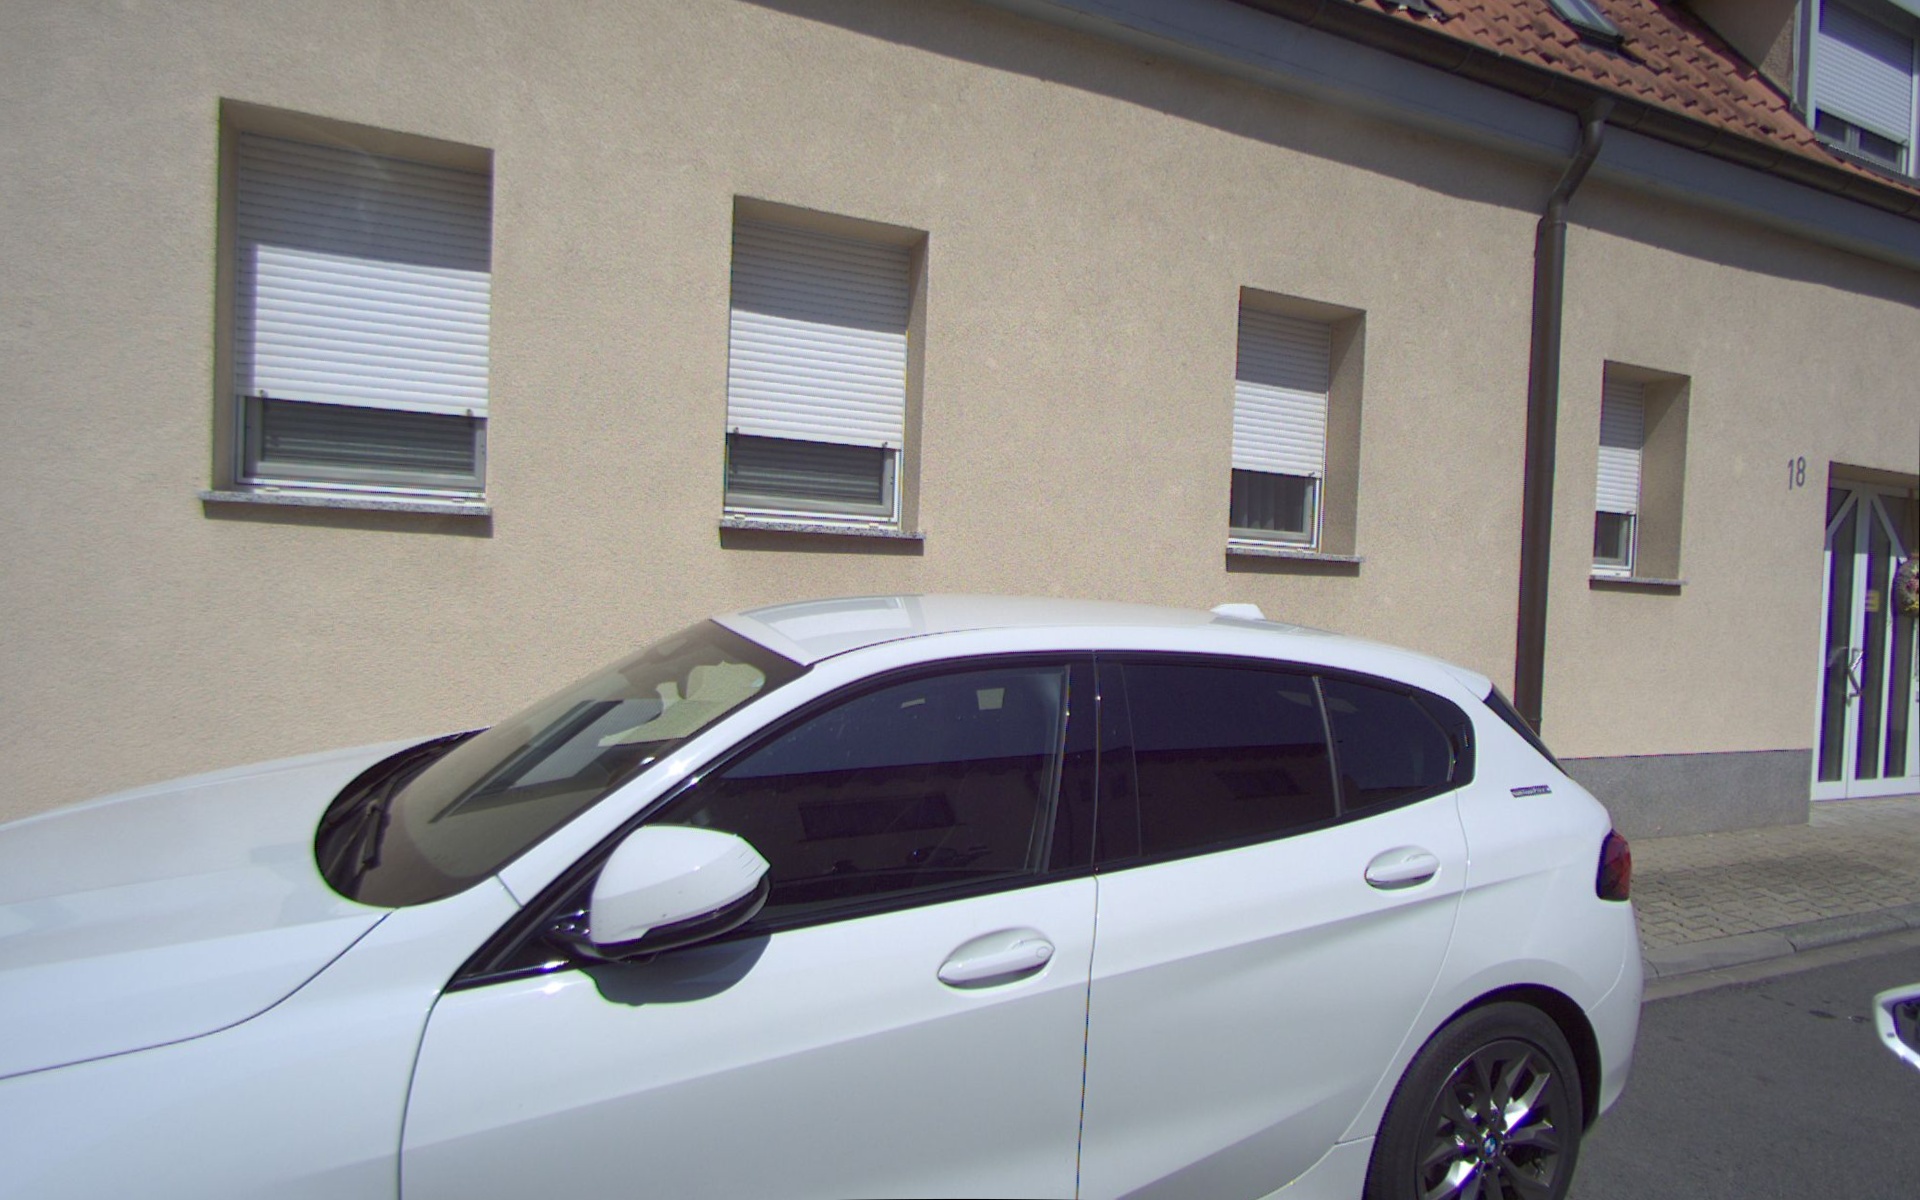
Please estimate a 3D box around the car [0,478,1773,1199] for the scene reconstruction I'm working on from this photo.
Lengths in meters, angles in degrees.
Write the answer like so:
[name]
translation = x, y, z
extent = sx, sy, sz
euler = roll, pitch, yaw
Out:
[car]
translation = -0.321, 0.630, 2.427
extent = 4.155, 1.473, 1.778
euler = 2, 0, -23
